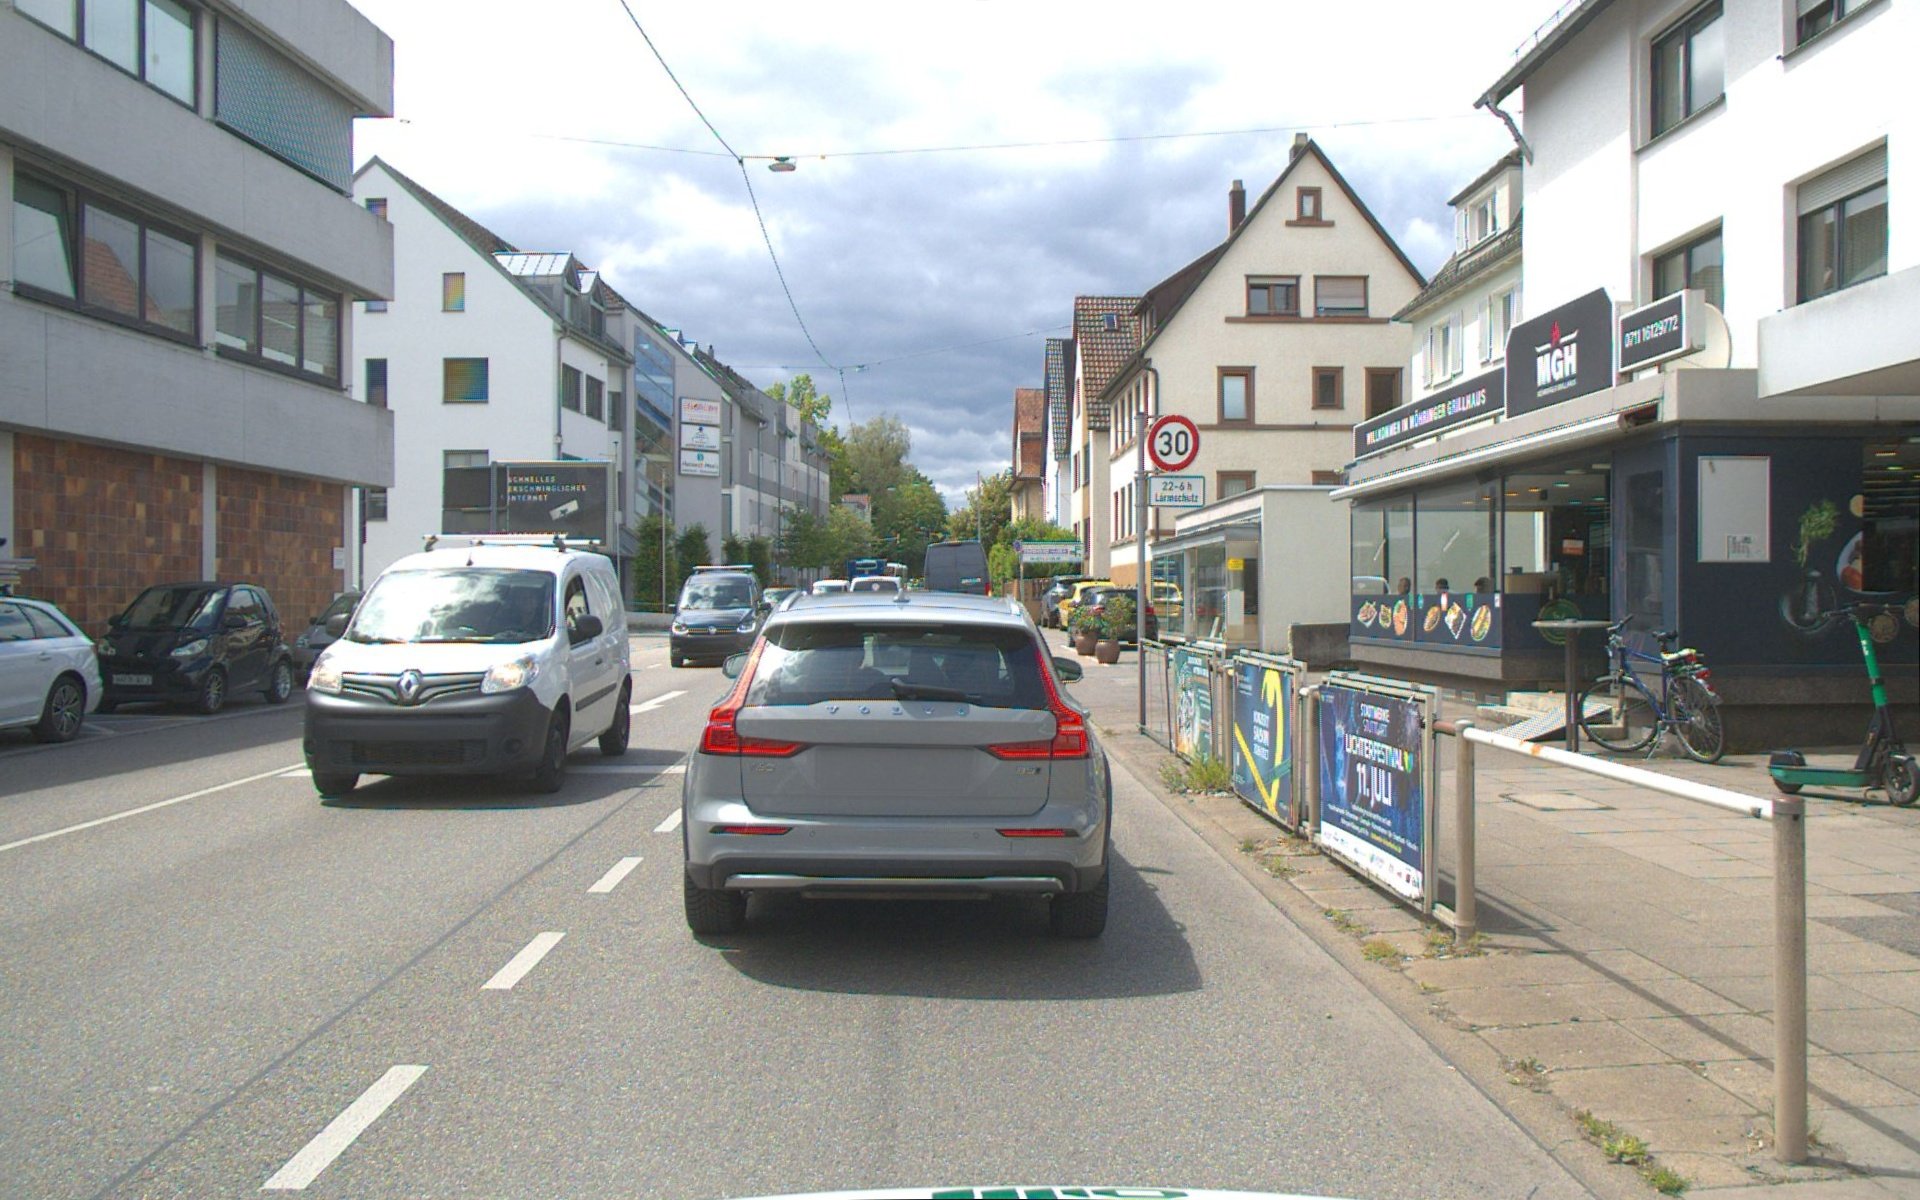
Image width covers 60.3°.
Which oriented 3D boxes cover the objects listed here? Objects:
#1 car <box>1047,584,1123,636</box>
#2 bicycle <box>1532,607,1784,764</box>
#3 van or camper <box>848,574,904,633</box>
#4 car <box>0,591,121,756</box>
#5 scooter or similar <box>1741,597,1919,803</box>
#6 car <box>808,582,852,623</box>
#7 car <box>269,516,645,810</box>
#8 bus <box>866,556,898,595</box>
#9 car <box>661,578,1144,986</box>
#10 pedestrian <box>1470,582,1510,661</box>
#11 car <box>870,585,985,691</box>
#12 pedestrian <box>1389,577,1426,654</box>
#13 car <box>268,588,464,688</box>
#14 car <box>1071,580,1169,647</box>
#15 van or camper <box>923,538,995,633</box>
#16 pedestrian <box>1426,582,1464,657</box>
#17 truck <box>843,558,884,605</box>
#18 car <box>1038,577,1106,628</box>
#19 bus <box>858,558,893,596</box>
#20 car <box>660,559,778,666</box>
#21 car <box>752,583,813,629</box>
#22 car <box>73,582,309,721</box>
[{"bbox_3d":[3.568,0.317,47.868,1.844,1.440,3.970,0,-1,-1],"label":"car"},{"bbox_3d":[5.763,0.661,13.836,0.546,1.164,2.287,-1,1,-19],"label":"bicycle"},{"bbox_3d":[-2.758,0.154,54.890,1.782,1.867,3.998,0,-2,-2],"label":"van or camper"},{"bbox_3d":[-9.690,0.677,14.851,1.864,1.468,4.445,1,1,3],"label":"car"},{"bbox_3d":[5.836,0.635,10.917,0.336,1.275,1.235,-3,0,-27],"label":"scooter or similar"},{"bbox_3d":[-6.029,0.159,77.147,1.761,1.848,3.999,0,-1,-1],"label":"car"},{"bbox_3d":[-3.740,0.420,13.087,1.801,1.951,4.154,0,0,-2],"label":"car"},{"bbox_3d":[-6.117,-1.932,130.722,2.230,2.951,7.078,-1,1,-1],"label":"bus"},{"bbox_3d":[-0.277,0.668,8.182,1.799,1.512,3.998,0,0,-2],"label":"car"},{"bbox_3d":[7.215,0.290,22.536,0.406,1.070,0.367,-1,0,-3],"label":"pedestrian"},{"bbox_3d":[-0.522,0.538,25.366,1.617,1.508,3.606,0,0,-2],"label":"car"},{"bbox_3d":[6.297,0.217,23.288,0.406,1.070,0.367,-1,0,-3],"label":"pedestrian"},{"bbox_3d":[-9.614,0.565,27.085,1.719,1.451,3.863,-1,1,1],"label":"car"},{"bbox_3d":[3.695,0.335,38.821,1.677,1.490,3.997,0,-1,-3],"label":"car"},{"bbox_3d":[-0.056,-0.459,50.514,2.080,2.733,4.780,-1,1,-1],"label":"van or camper"},{"bbox_3d":[6.959,0.275,23.730,0.406,1.070,0.367,-1,0,-3],"label":"pedestrian"},{"bbox_3d":[-6.218,-1.195,107.297,2.230,2.937,7.078,-1,1,-1],"label":"truck"},{"bbox_3d":[3.494,0.108,52.389,1.844,1.526,3.970,0,-1,-1],"label":"car"},{"bbox_3d":[-6.227,-1.702,122.423,2.230,2.714,7.429,-1,1,-1],"label":"bus"},{"bbox_3d":[-4.733,0.232,33.008,1.801,1.951,4.529,-1,0,-2],"label":"car"},{"bbox_3d":[-6.006,0.181,56.376,1.727,1.451,3.999,-1,1,-2],"label":"car"},{"bbox_3d":[-9.542,0.584,20.756,1.575,1.570,2.944,1,1,-1],"label":"car"}]
